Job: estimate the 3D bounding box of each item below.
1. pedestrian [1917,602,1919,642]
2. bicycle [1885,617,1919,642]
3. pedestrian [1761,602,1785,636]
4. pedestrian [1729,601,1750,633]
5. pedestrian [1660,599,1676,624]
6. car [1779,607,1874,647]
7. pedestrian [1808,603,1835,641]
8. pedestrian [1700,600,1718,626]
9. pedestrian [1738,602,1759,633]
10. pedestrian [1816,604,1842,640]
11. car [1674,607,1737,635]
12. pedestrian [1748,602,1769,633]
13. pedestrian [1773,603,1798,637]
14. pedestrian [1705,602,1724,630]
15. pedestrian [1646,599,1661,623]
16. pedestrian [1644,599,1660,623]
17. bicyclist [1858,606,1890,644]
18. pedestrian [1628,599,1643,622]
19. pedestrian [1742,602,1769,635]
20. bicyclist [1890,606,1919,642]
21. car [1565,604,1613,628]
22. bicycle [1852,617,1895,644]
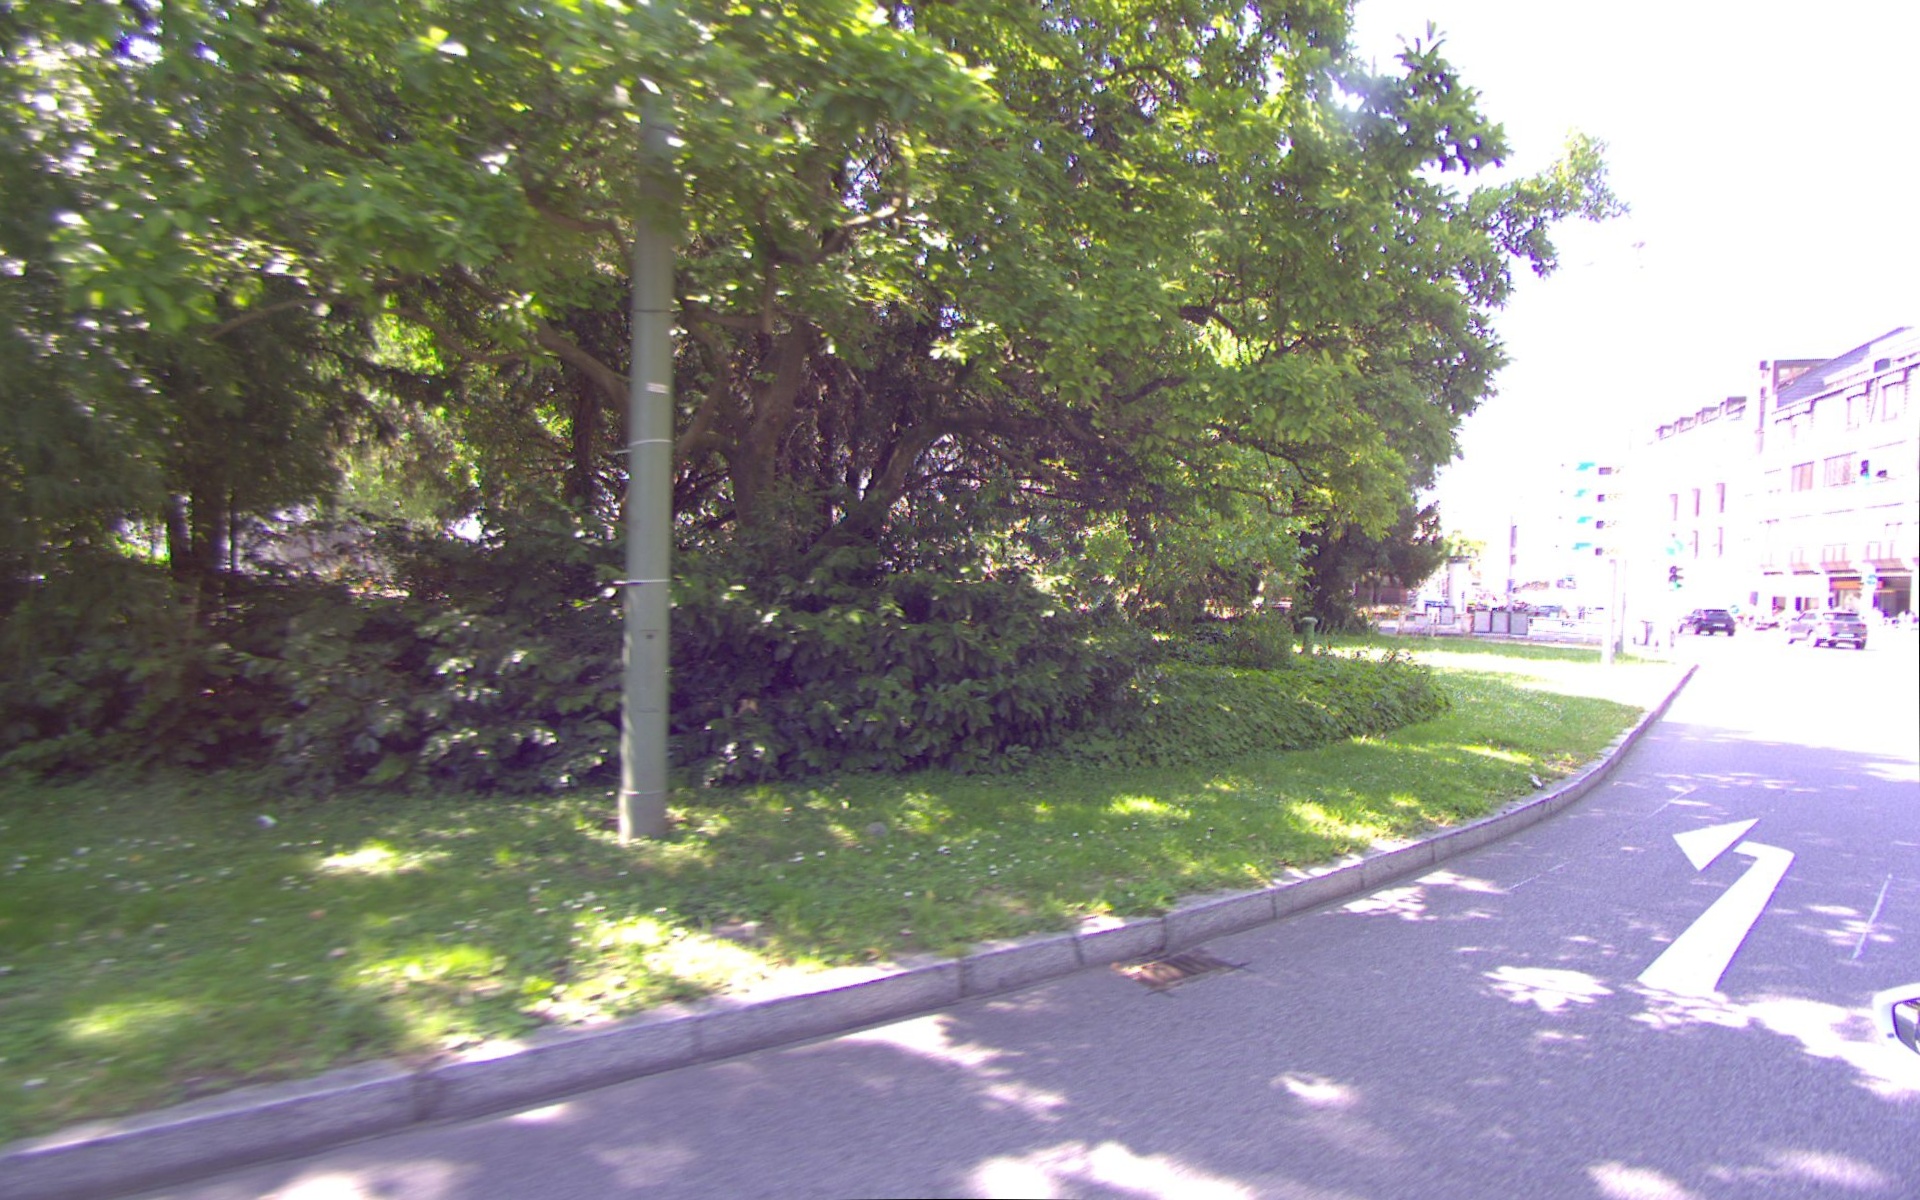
[{"bbox_3d":[48.519,1.135,50.141,0.758,1.985,0.829,2,2,23],"label":"pedestrian"},{"bbox_3d":[48.763,1.506,51.820,0.716,1.195,2.325,3,1,21],"label":"bicycle"},{"bbox_3d":[45.951,1.059,56.779,0.758,1.837,0.829,2,2,23],"label":"pedestrian"},{"bbox_3d":[47.326,1.024,60.995,0.758,1.837,0.829,2,2,23],"label":"pedestrian"},{"bbox_3d":[54.469,0.892,77.321,0.758,1.837,0.829,2,2,22],"label":"pedestrian"},{"bbox_3d":[36.607,1.103,42.560,1.917,1.558,4.079,2,1,24],"label":"car"},{"bbox_3d":[43.651,1.113,50.887,0.758,1.837,0.829,2,2,23],"label":"pedestrian"},{"bbox_3d":[53.885,0.956,72.261,0.758,1.837,0.829,2,2,22],"label":"pedestrian"},{"bbox_3d":[47.045,1.047,59.947,0.758,1.837,0.829,2,2,23],"label":"pedestrian"},{"bbox_3d":[45.767,1.129,52.889,0.758,1.837,0.829,2,2,23],"label":"pedestrian"},{"bbox_3d":[41.099,1.146,55.468,1.796,1.428,3.792,2,1,21],"label":"car"},{"bbox_3d":[49.047,1.065,61.706,0.758,1.837,0.829,2,2,23],"label":"pedestrian"},{"bbox_3d":[45.659,1.109,55.564,0.758,1.837,0.829,2,2,23],"label":"pedestrian"},{"bbox_3d":[50.700,1.050,67.508,0.758,1.837,0.829,2,2,22],"label":"pedestrian"},{"bbox_3d":[55.377,0.877,80.261,0.758,1.837,0.829,2,2,22],"label":"pedestrian"},{"bbox_3d":[53.707,0.845,77.962,0.758,1.837,0.829,2,2,22],"label":"pedestrian"},{"bbox_3d":[44.761,1.210,49.190,0.738,1.771,1.129,2,2,22],"label":"bicyclist"},{"bbox_3d":[54.371,0.821,80.830,0.758,1.837,0.829,2,2,22],"label":"pedestrian"},{"bbox_3d":[46.343,1.076,58.517,0.958,1.837,0.950,2,2,23],"label":"pedestrian"},{"bbox_3d":[48.758,1.242,51.793,0.738,1.771,1.129,2,2,22],"label":"bicyclist"},{"bbox_3d":[40.230,0.982,64.310,1.804,1.428,3.793,2,1,21],"label":"car"},{"bbox_3d":[44.763,1.483,49.234,0.716,1.195,2.325,3,1,21],"label":"bicycle"}]
